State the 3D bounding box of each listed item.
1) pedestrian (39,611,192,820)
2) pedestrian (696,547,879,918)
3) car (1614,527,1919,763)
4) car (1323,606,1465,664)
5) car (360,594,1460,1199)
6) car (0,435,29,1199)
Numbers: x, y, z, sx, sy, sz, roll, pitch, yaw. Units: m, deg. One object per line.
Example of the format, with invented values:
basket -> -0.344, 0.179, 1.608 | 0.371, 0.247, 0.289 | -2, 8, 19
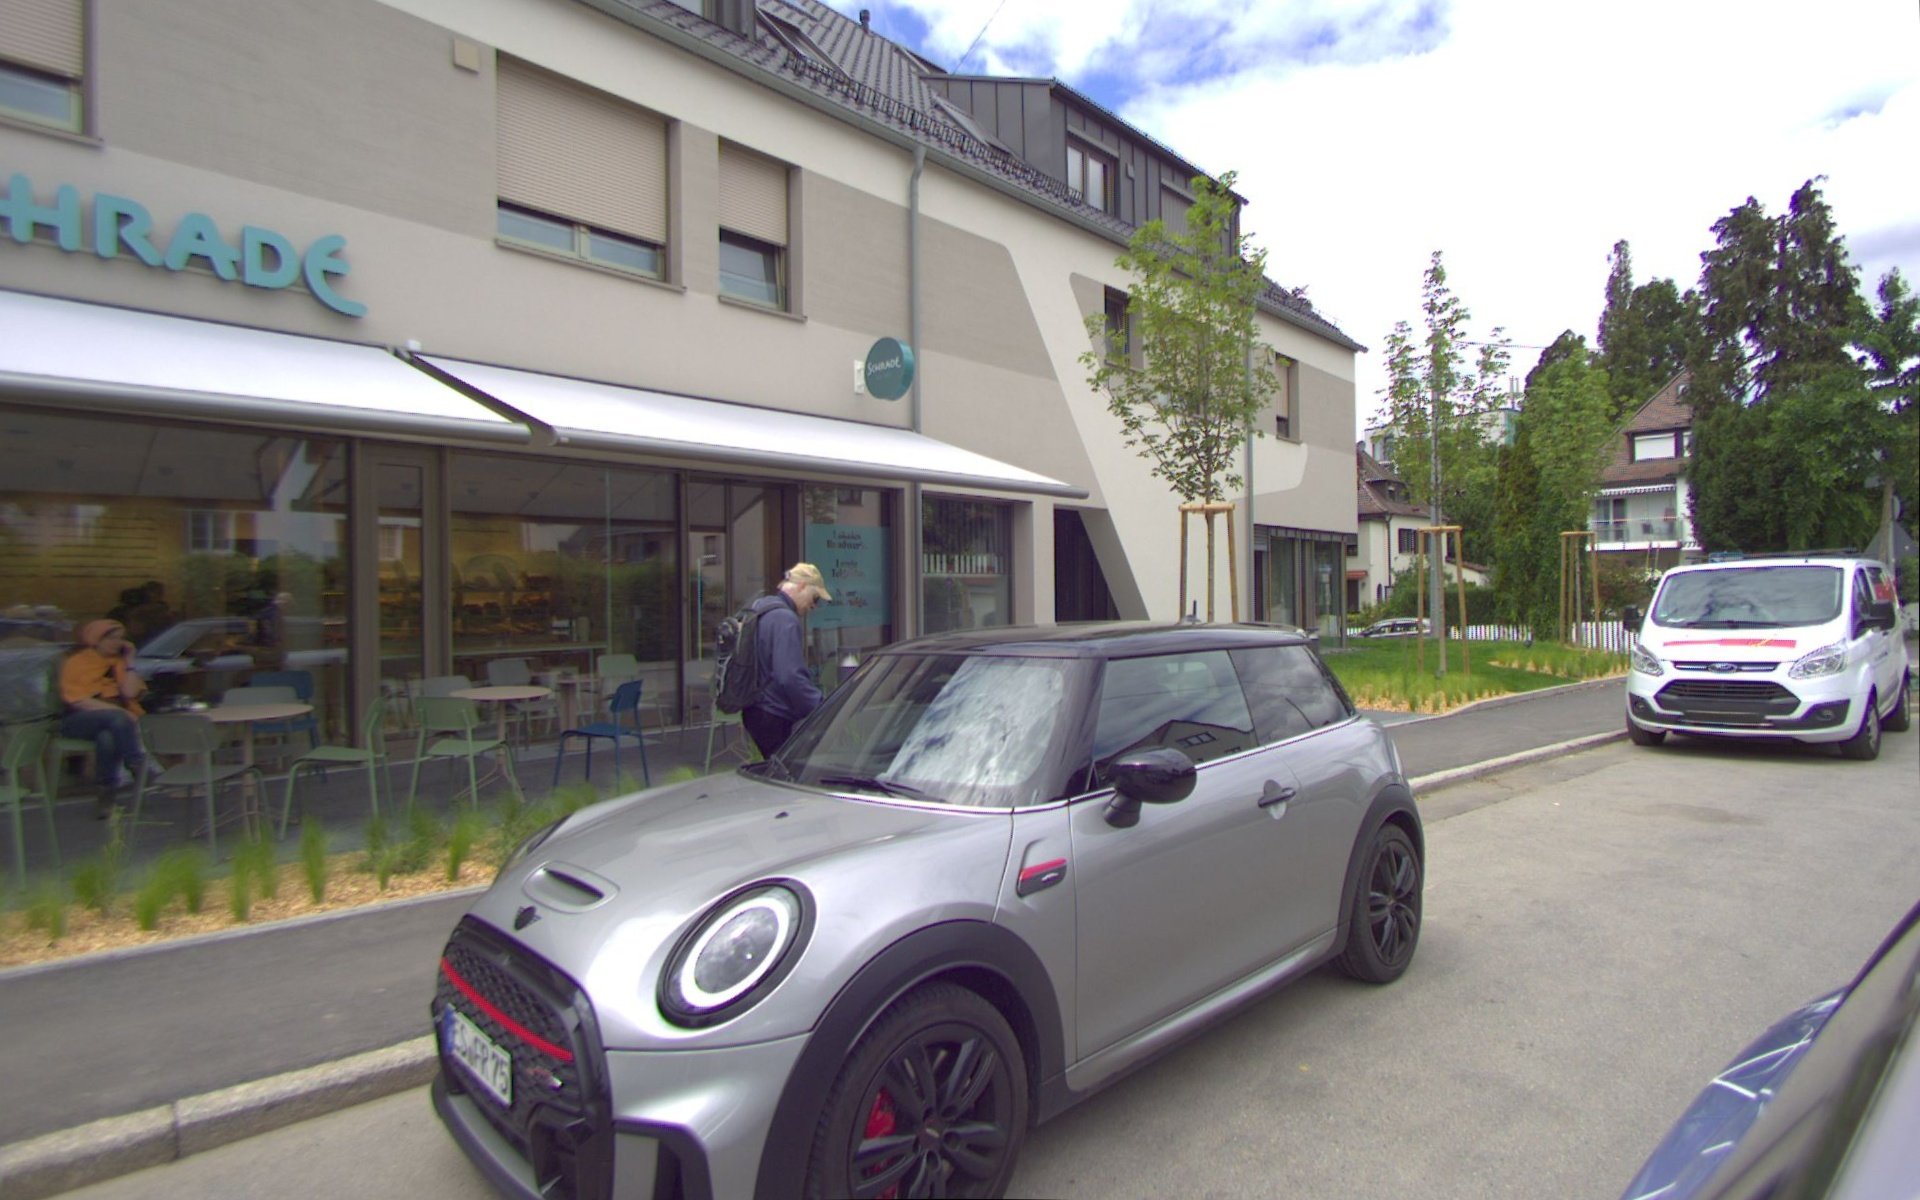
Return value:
pedestrian -> -5.522, 0.701, 6.619 | 0.750, 1.254, 0.681 | -1, -1, 43
pedestrian -> -0.866, 0.596, 5.074 | 0.648, 1.690, 0.677 | 0, 0, -42
car -> 9.344, 0.401, 11.366 | 5.473, 2.040, 1.995 | -1, -2, -43
car -> 14.242, 1.167, 33.313 | 3.827, 1.617, 1.848 | -6, -4, 41
car -> 0.177, 0.748, 3.663 | 3.771, 1.471, 1.708 | -1, -1, -44
car -> -3.269, 0.680, 0.284 | 4.393, 1.657, 1.847 | -1, -1, -45
